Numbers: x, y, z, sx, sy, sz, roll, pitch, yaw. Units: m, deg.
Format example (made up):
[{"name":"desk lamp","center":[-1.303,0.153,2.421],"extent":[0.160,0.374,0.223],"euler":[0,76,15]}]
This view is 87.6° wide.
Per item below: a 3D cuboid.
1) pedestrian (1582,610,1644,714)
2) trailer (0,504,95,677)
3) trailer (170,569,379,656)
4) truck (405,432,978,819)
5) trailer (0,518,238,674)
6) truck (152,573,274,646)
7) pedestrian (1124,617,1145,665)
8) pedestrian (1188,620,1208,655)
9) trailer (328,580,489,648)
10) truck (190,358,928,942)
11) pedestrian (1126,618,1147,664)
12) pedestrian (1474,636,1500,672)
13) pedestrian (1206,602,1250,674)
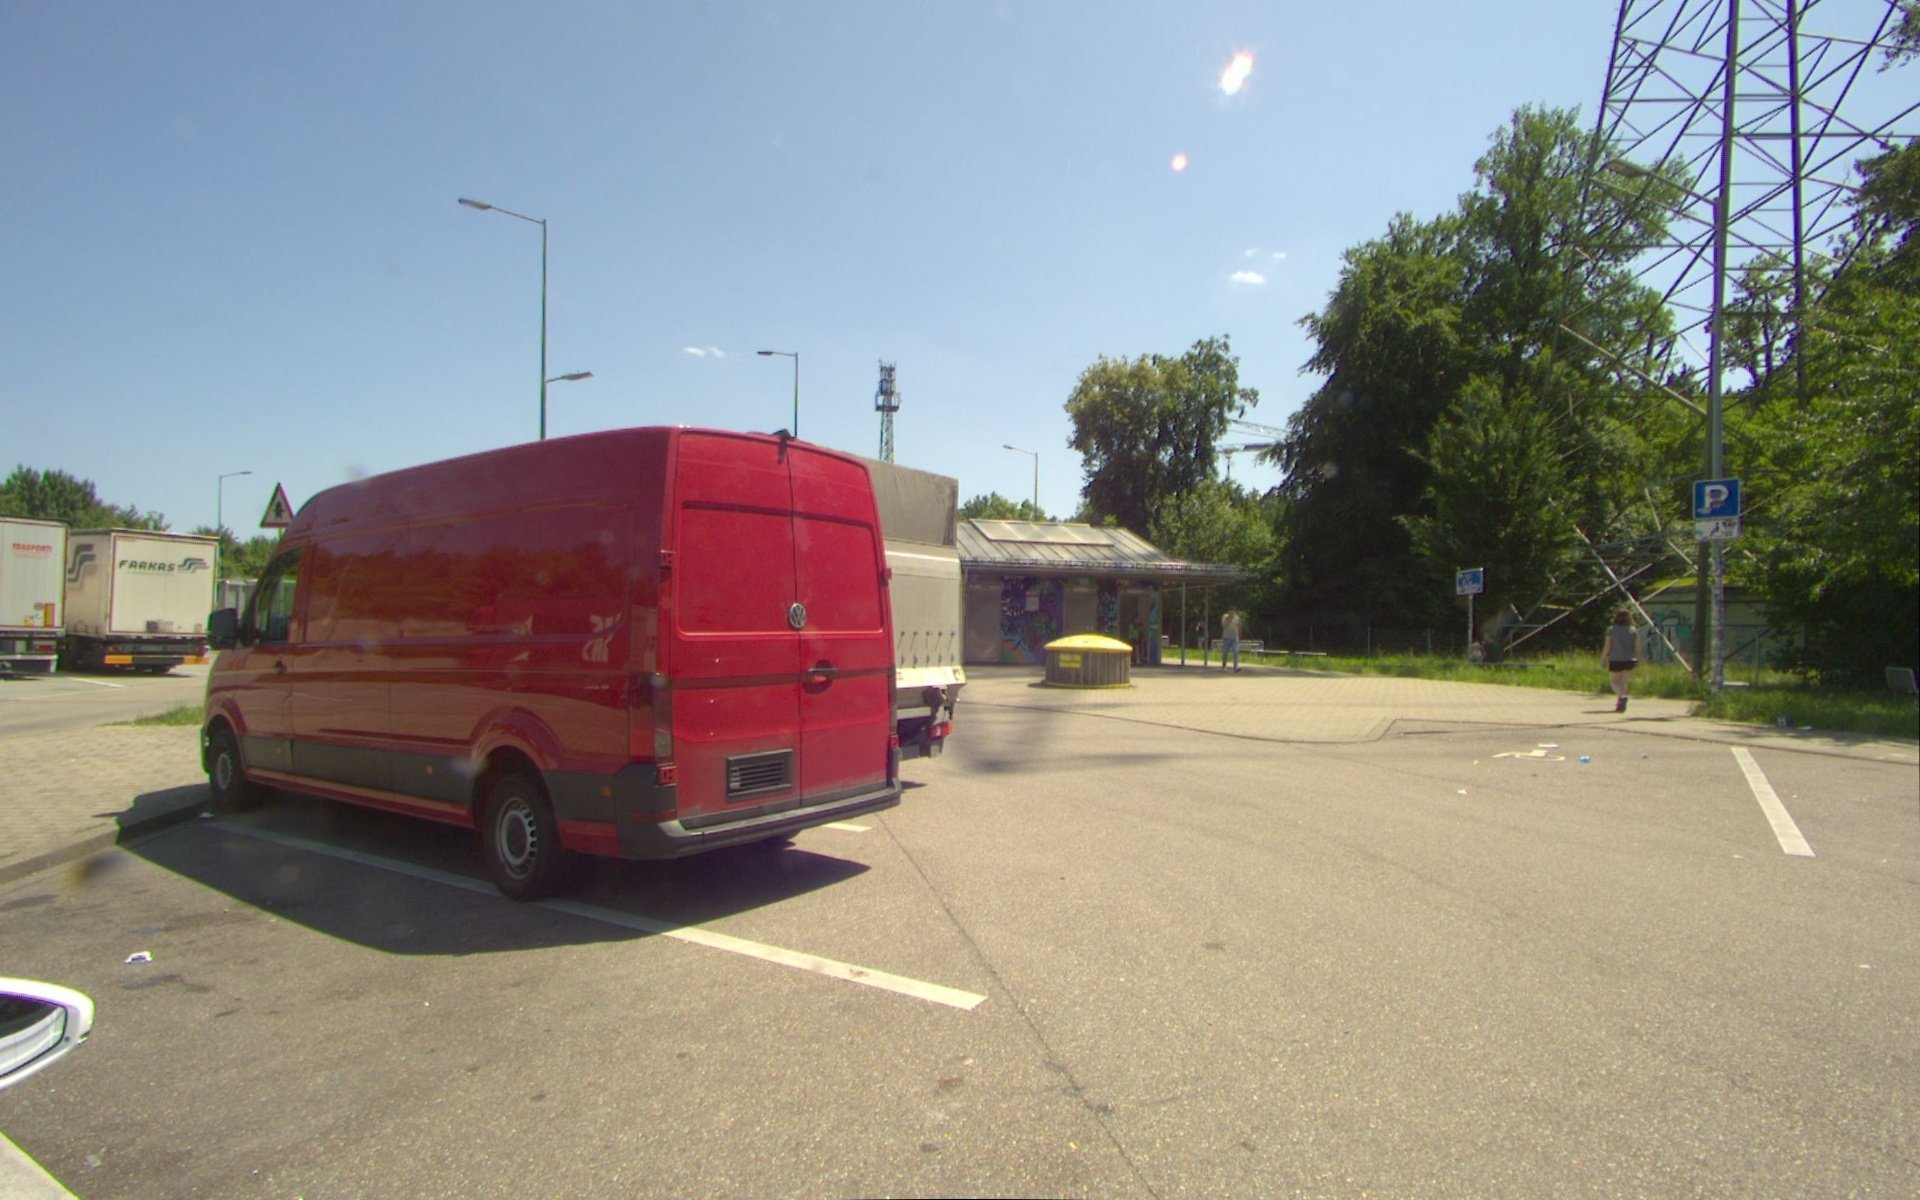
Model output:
[{"name":"pedestrian","center":[10.736,1.004,16.468],"extent":[0.707,1.670,0.681],"euler":[1,-2,-42]},{"name":"trailer","center":[-28.685,-0.338,28.011],"extent":[13.561,4.162,2.854],"euler":[1,-2,32]},{"name":"trailer","center":[-32.476,0.487,47.088],"extent":[13.561,3.646,2.854],"euler":[1,-2,32]},{"name":"truck","center":[-3.083,0.276,10.513],"extent":[6.372,2.944,2.411],"euler":[-1,-2,37]},{"name":"trailer","center":[-27.612,-0.165,31.599],"extent":[13.561,4.162,2.854],"euler":[1,-2,32]},{"name":"truck","center":[-37.548,0.478,50.312],"extent":[5.887,3.406,2.862],"euler":[1,-2,32]},{"name":"pedestrian","center":[5.223,1.226,29.966],"extent":[0.532,1.392,0.583],"euler":[0,-1,0]},{"name":"pedestrian","center":[11.052,1.741,46.574],"extent":[0.798,1.639,0.921],"euler":[0,-1,7]},{"name":"trailer","center":[-36.170,0.847,65.327],"extent":[13.561,3.955,2.854],"euler":[1,-2,32]},{"name":"truck","center":[-3.333,0.305,7.329],"extent":[6.372,2.685,2.005],"euler":[-1,-2,37]},{"name":"pedestrian","center":[5.396,1.239,30.575],"extent":[0.532,1.392,0.583],"euler":[0,-1,0]},{"name":"pedestrian","center":[14.646,1.493,27.810],"extent":[0.439,0.987,0.460],"euler":[0,-1,-19]},{"name":"pedestrian","center":[7.282,1.030,27.254],"extent":[0.799,1.929,0.920],"euler":[0,-1,-15]}]
